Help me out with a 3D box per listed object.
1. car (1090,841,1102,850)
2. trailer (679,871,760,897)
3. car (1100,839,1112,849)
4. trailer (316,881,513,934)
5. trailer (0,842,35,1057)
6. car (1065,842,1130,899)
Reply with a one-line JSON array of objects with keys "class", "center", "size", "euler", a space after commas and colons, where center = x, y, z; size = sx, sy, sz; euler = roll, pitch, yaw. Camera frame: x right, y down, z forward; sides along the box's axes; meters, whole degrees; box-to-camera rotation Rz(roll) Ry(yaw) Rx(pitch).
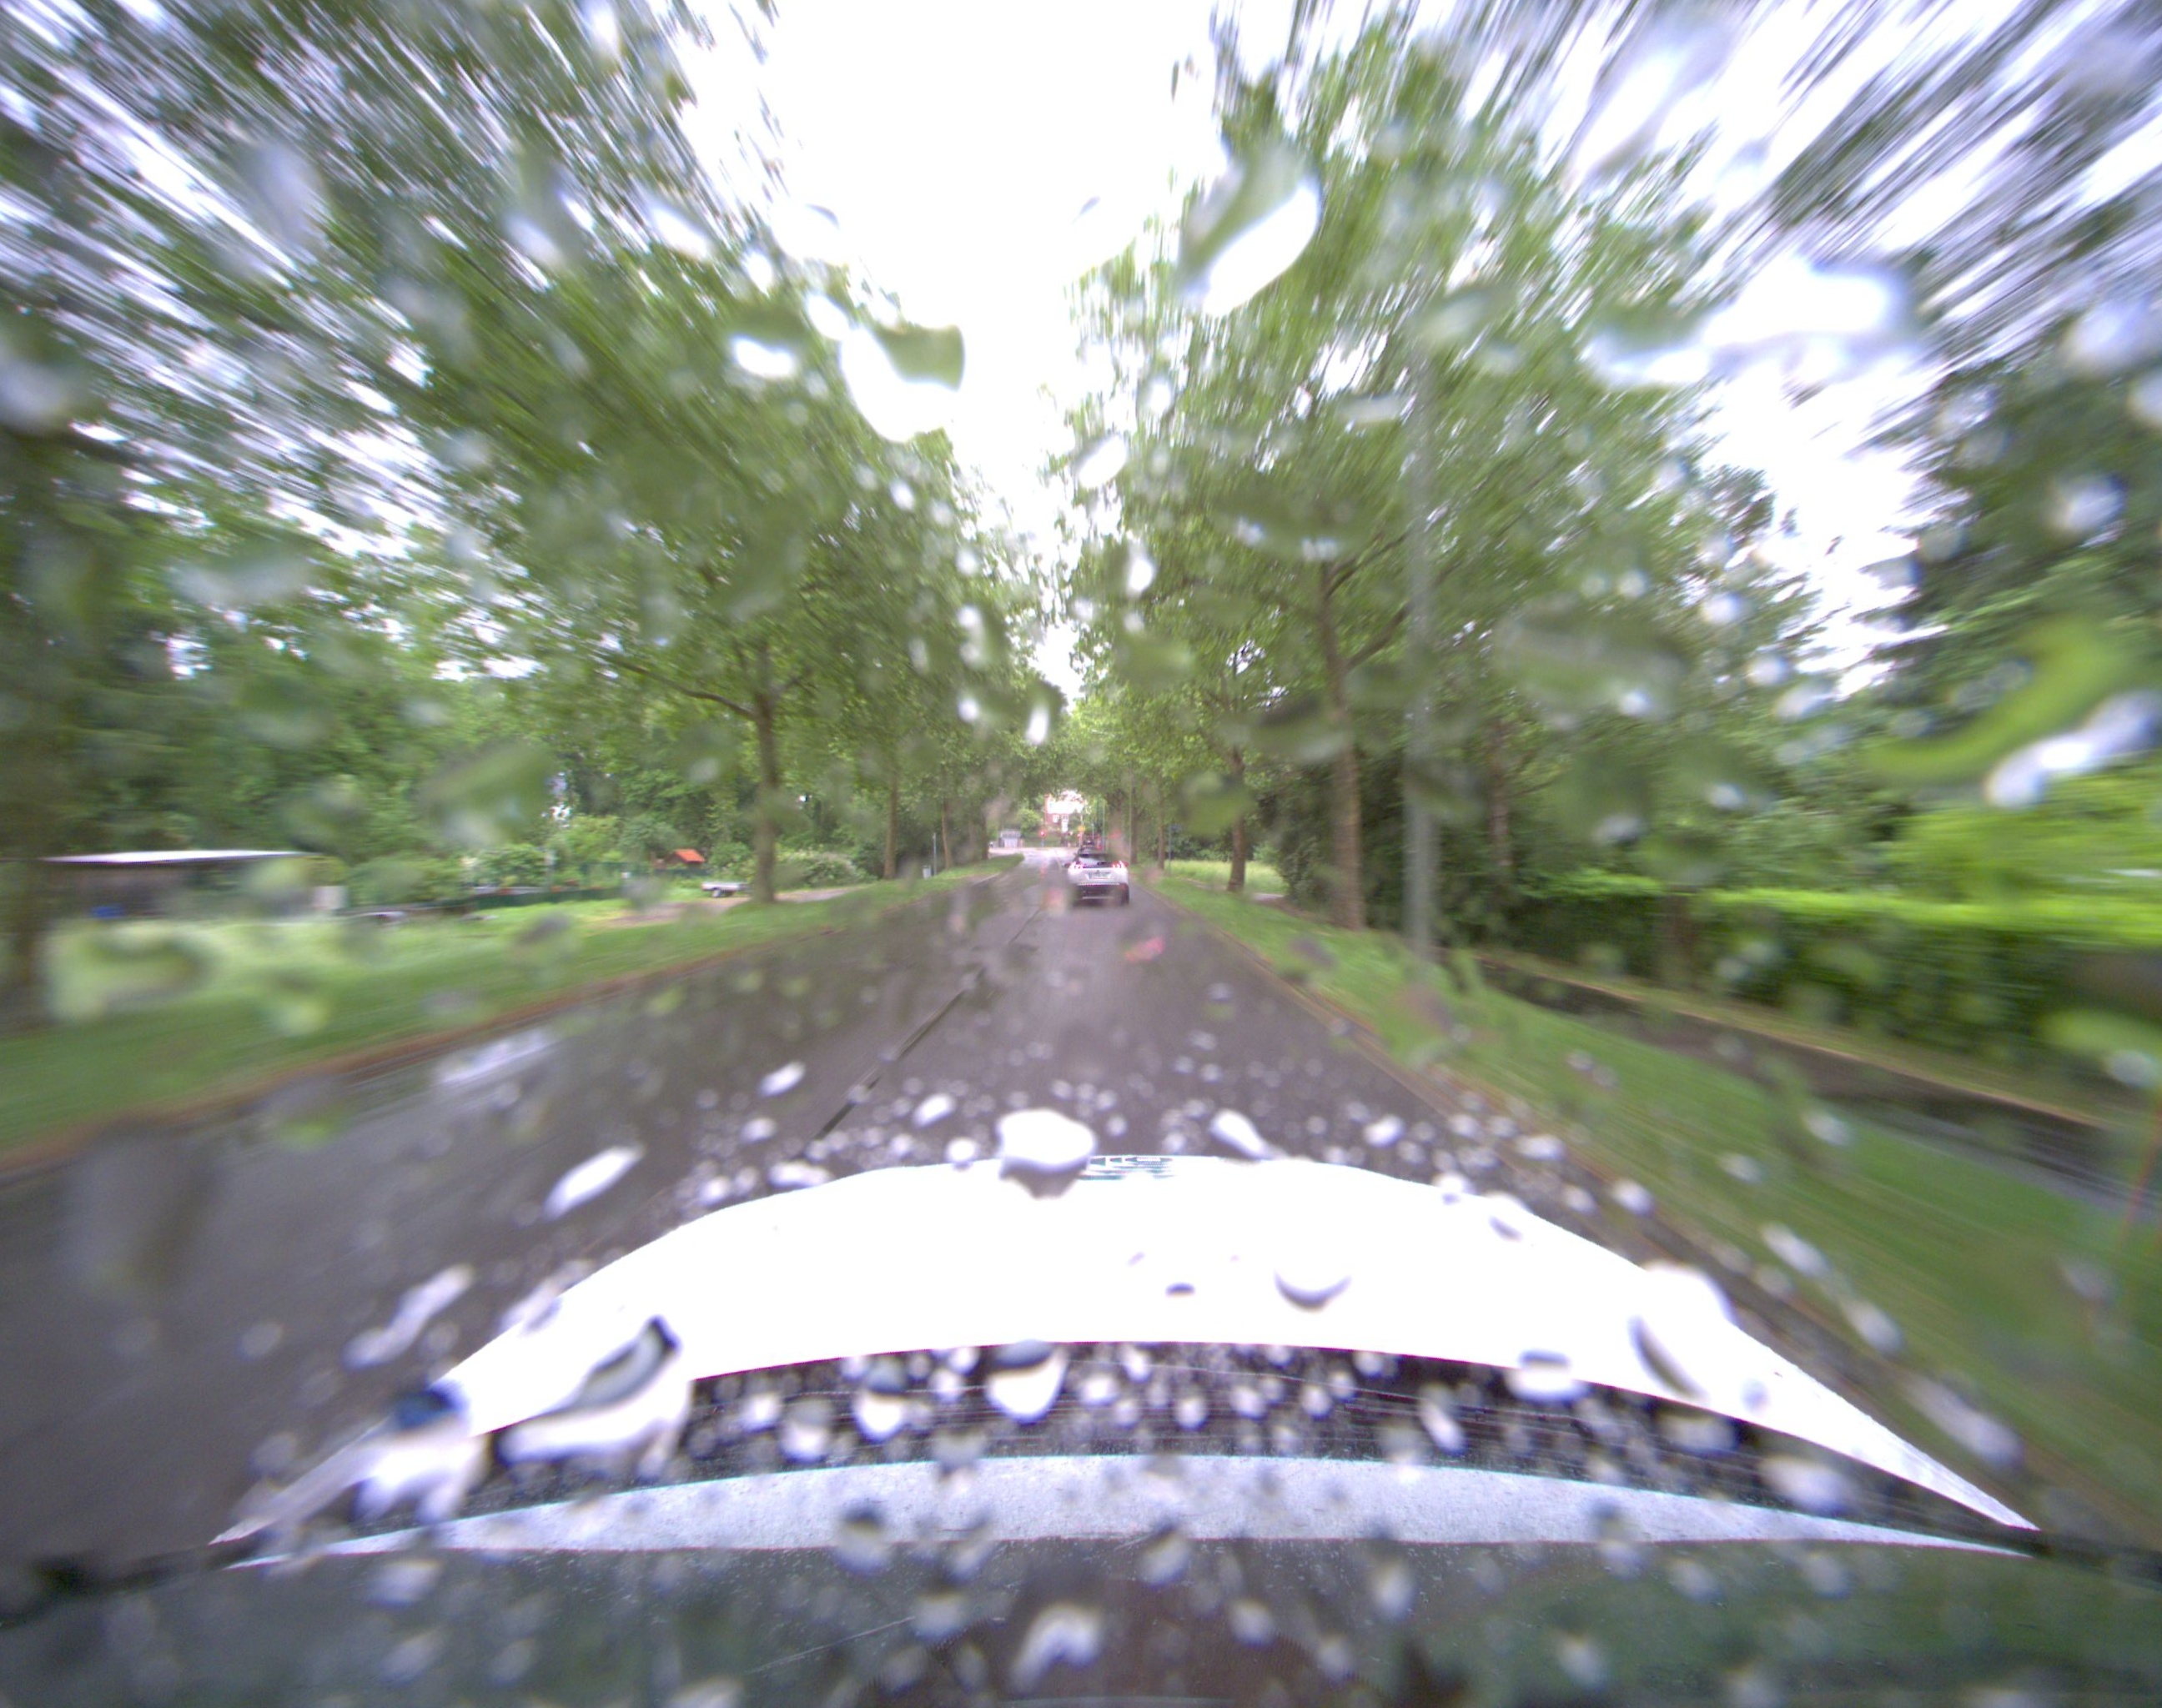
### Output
[{"class": "car", "center": [2.671, -1.449, 143.541], "size": [1.819, 1.596, 3.658], "euler": [0, 0, 4]}, {"class": "trailer", "center": [-19.330, 1.589, 43.667], "size": [3.548, 1.178, 1.819], "euler": [-1, 1, -6]}, {"class": "car", "center": [4.086, -1.625, 133.877], "size": [1.819, 1.596, 3.658], "euler": [0, 0, 4]}, {"class": "trailer", "center": [-20.407, 1.618, 25.112], "size": [4.227, 1.376, 1.996], "euler": [-1, 1, -6]}, {"class": "trailer", "center": [-14.221, 1.149, 7.388], "size": [2.475, 2.567, 5.335], "euler": [0, 0, 2]}, {"class": "car", "center": [0.539, 0.433, 24.350], "size": [1.786, 1.578, 3.847], "euler": [0, 1, 2]}]
